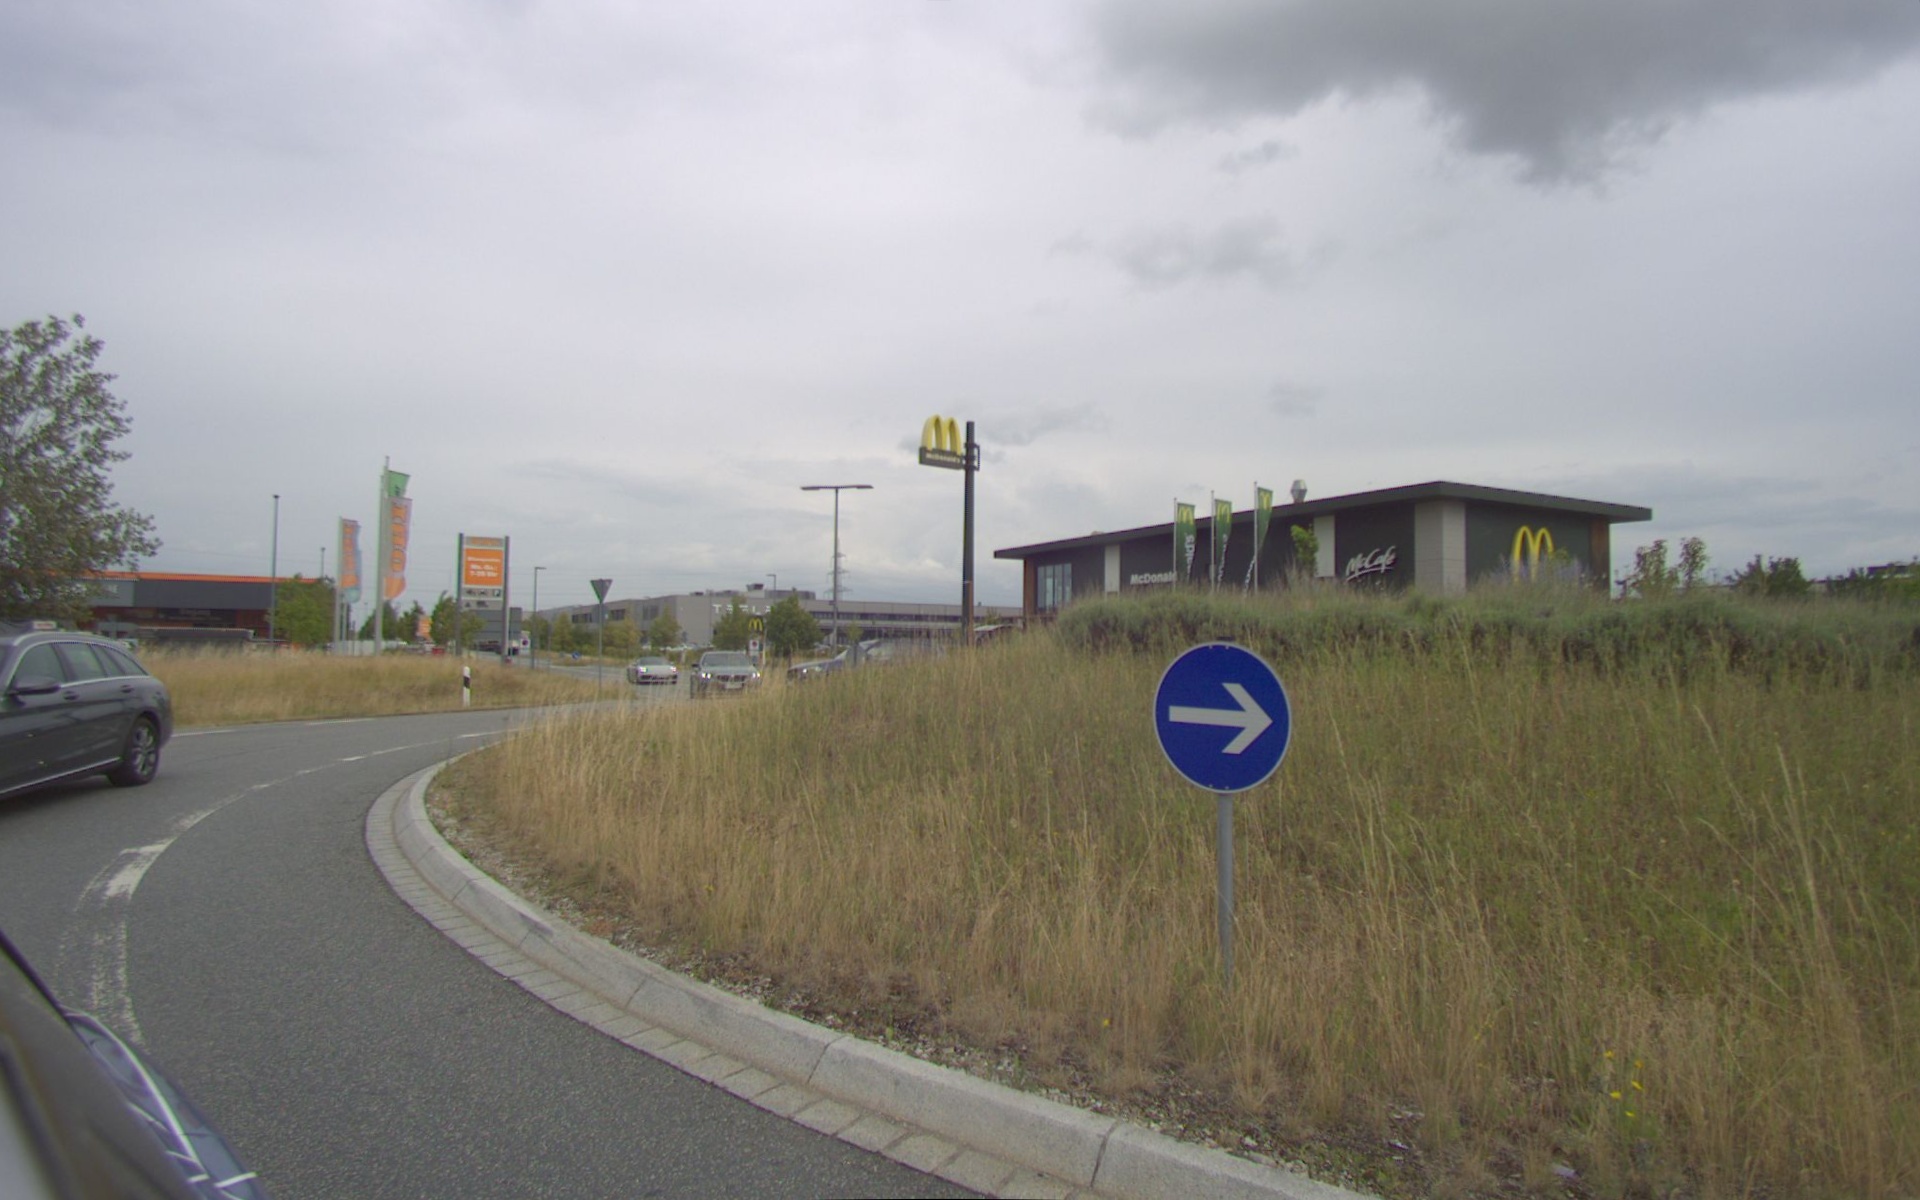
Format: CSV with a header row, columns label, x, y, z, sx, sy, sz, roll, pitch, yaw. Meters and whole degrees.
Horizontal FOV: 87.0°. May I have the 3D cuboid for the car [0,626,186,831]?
label,x,y,z,sx,sy,sz,roll,pitch,yaw
car,-8.170,0.957,7.944,1.875,1.508,4.351,1,-2,-16

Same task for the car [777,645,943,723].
label,x,y,z,sx,sy,sz,roll,pitch,yaw
car,-2.641,2.132,26.501,3.931,1.732,1.849,-2,-2,-19

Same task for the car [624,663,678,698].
label,x,y,z,sx,sy,sz,roll,pitch,yaw
car,-14.854,3.815,48.509,1.797,1.408,4.749,1,-2,-26

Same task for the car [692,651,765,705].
label,x,y,z,sx,sy,sz,roll,pitch,yaw
car,-7.356,2.392,31.855,1.965,1.516,4.319,0,-3,-16
